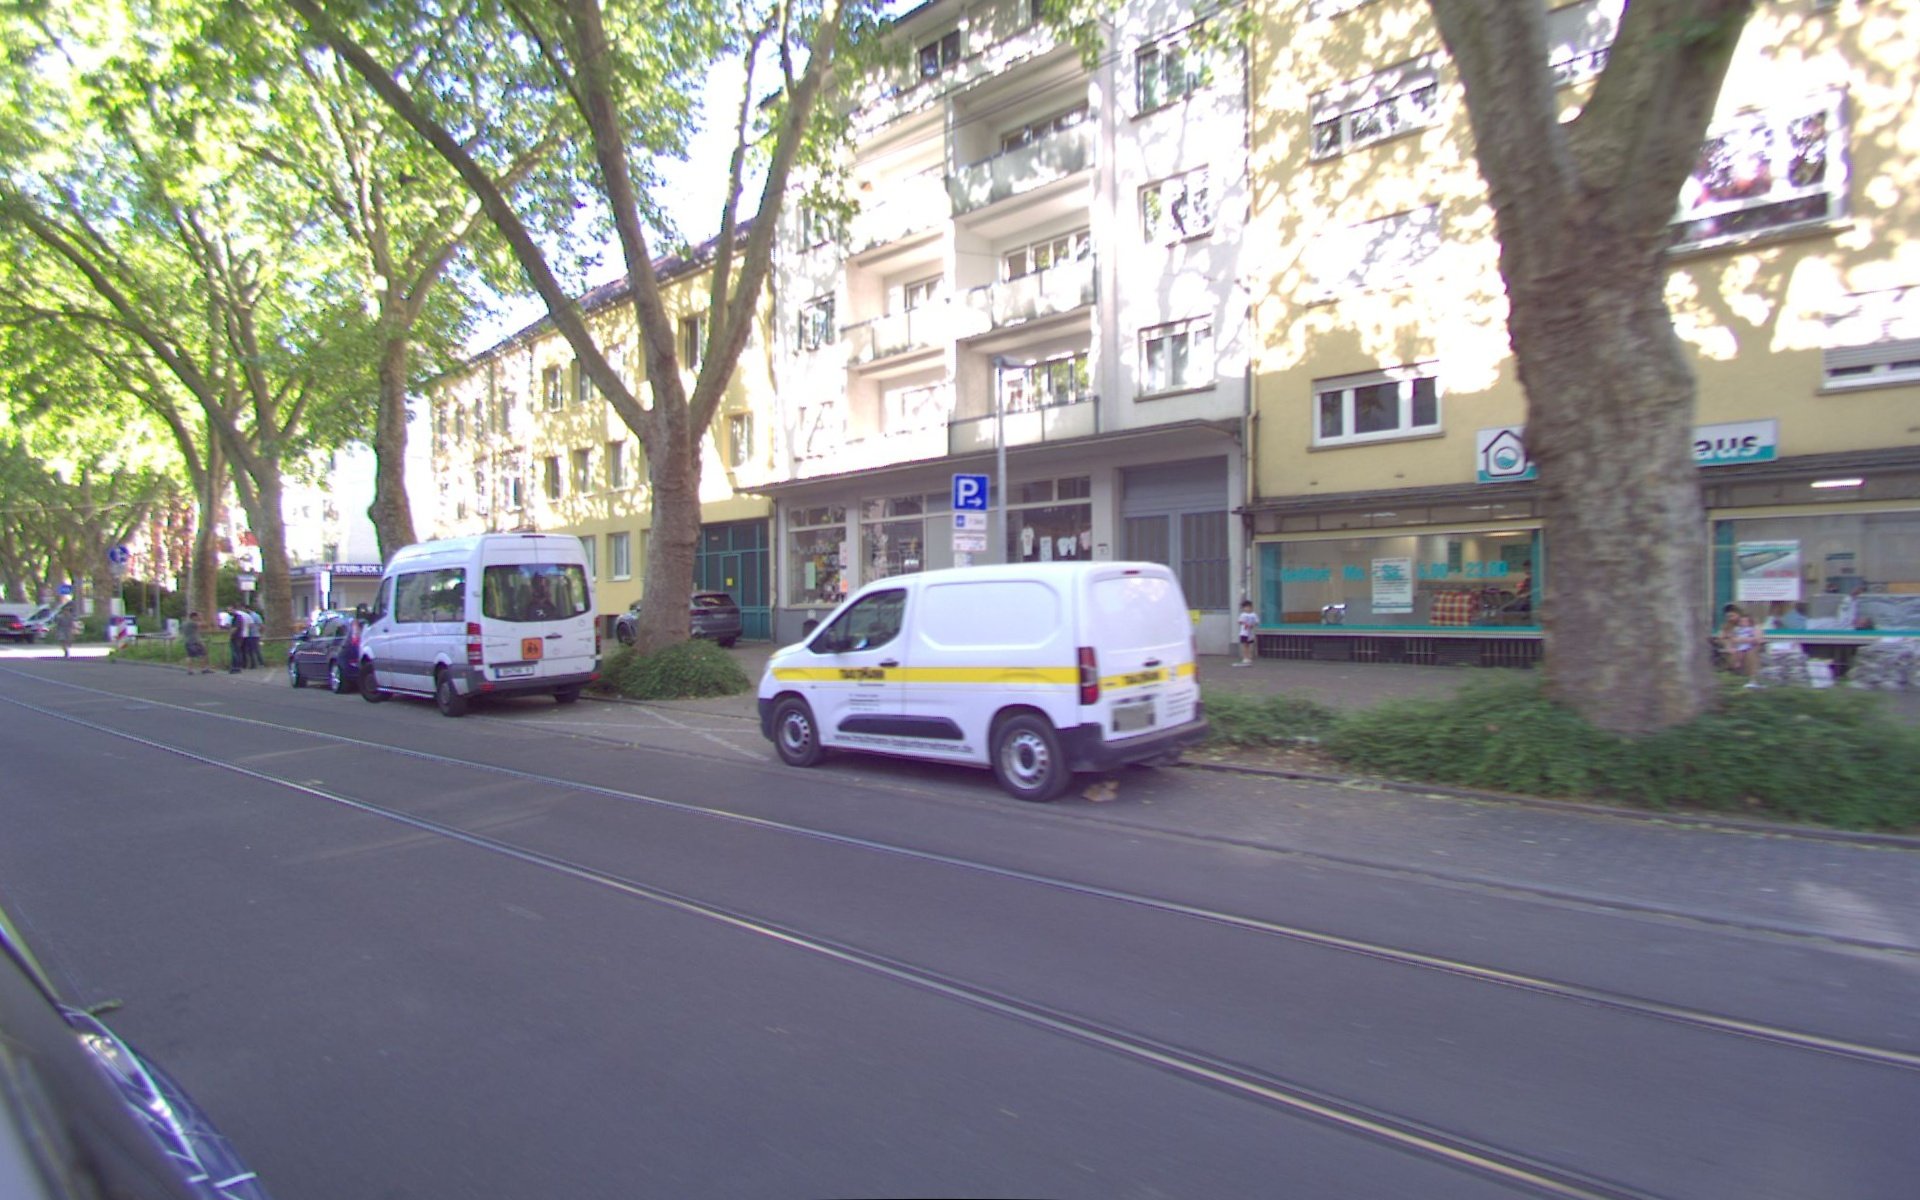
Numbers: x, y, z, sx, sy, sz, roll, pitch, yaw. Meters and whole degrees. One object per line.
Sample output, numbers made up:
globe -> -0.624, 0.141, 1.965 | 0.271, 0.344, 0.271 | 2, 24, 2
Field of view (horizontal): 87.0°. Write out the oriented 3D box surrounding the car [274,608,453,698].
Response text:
car -> -12.082, 0.984, 20.400 | 4.283, 1.573, 1.896 | -1, 1, 42

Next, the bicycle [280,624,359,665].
bicycle -> -18.429, 1.265, 29.140 | 1.820, 1.088, 0.571 | -1, 1, -20

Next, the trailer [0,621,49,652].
trailer -> -53.051, 1.985, 56.500 | 6.581, 1.644, 2.421 | -1, -2, 41

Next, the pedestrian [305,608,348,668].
pedestrian -> -17.877, 1.066, 28.552 | 0.759, 1.622, 0.715 | -1, 0, -6

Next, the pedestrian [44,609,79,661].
pedestrian -> -32.226, 1.248, 36.292 | 0.799, 1.805, 0.693 | -1, 1, 30

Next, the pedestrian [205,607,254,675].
pedestrian -> -19.346, 1.074, 26.814 | 0.759, 1.748, 0.715 | -1, 0, -6

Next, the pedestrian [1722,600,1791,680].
pedestrian -> 11.014, 0.536, 13.993 | 0.711, 1.055, 0.572 | -1, 1, 41

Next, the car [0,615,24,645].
car -> -57.216, 1.758, 60.102 | 4.180, 1.696, 1.903 | -1, -2, 41

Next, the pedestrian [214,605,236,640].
pedestrian -> -38.451, 1.192, 52.967 | 0.668, 1.793, 0.716 | 0, 1, 33

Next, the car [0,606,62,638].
car -> -78.726, 1.860, 85.083 | 2.000, 2.552, 4.599 | -1, 1, 43

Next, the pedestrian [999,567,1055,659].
pedestrian -> 1.407, 0.258, 21.211 | 0.863, 1.883, 0.737 | -1, 1, 41

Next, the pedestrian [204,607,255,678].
pedestrian -> -18.862, 1.081, 26.147 | 0.760, 1.790, 0.714 | -1, 0, -1

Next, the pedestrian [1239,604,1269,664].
pedestrian -> 5.590, 0.640, 19.233 | 0.436, 1.114, 0.417 | -1, 1, 33

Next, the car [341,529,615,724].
car -> -8.011, 0.351, 16.412 | 2.084, 2.596, 6.027 | -2, 1, -45

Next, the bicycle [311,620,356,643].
bicycle -> -32.139, 1.619, 51.928 | 0.655, 1.070, 1.846 | -1, 1, 35

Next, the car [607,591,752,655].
car -> -8.580, 0.663, 30.675 | 4.898, 1.746, 1.972 | -1, 1, 44

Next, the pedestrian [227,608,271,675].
pedestrian -> -19.307, 1.112, 27.503 | 0.758, 1.748, 0.719 | -1, 1, -16

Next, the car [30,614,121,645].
car -> -53.914, 1.790, 61.756 | 1.908, 1.622, 3.946 | -3, -1, 41

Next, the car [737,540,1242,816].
car -> 0.070, 0.523, 8.915 | 4.316, 1.864, 1.745 | -1, 1, 41

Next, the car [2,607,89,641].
car -> -67.922, 1.741, 75.191 | 2.000, 2.323, 4.599 | -1, 1, 43

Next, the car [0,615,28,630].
car -> -100.836, 2.386, 106.426 | 1.999, 1.478, 3.946 | -1, 1, 41

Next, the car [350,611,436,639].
car -> -33.783, 1.483, 60.384 | 1.834, 1.489, 4.098 | -1, 1, 42

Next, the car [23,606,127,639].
car -> -61.030, 1.505, 69.862 | 1.997, 2.010, 5.071 | -1, 1, 38

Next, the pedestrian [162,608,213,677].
pedestrian -> -20.224, 1.097, 26.494 | 0.704, 1.748, 0.770 | -1, 0, 1

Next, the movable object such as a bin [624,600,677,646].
movable object such as a bin -> -10.599, 0.775, 34.658 | 1.343, 1.513, 1.217 | -1, 1, 42
